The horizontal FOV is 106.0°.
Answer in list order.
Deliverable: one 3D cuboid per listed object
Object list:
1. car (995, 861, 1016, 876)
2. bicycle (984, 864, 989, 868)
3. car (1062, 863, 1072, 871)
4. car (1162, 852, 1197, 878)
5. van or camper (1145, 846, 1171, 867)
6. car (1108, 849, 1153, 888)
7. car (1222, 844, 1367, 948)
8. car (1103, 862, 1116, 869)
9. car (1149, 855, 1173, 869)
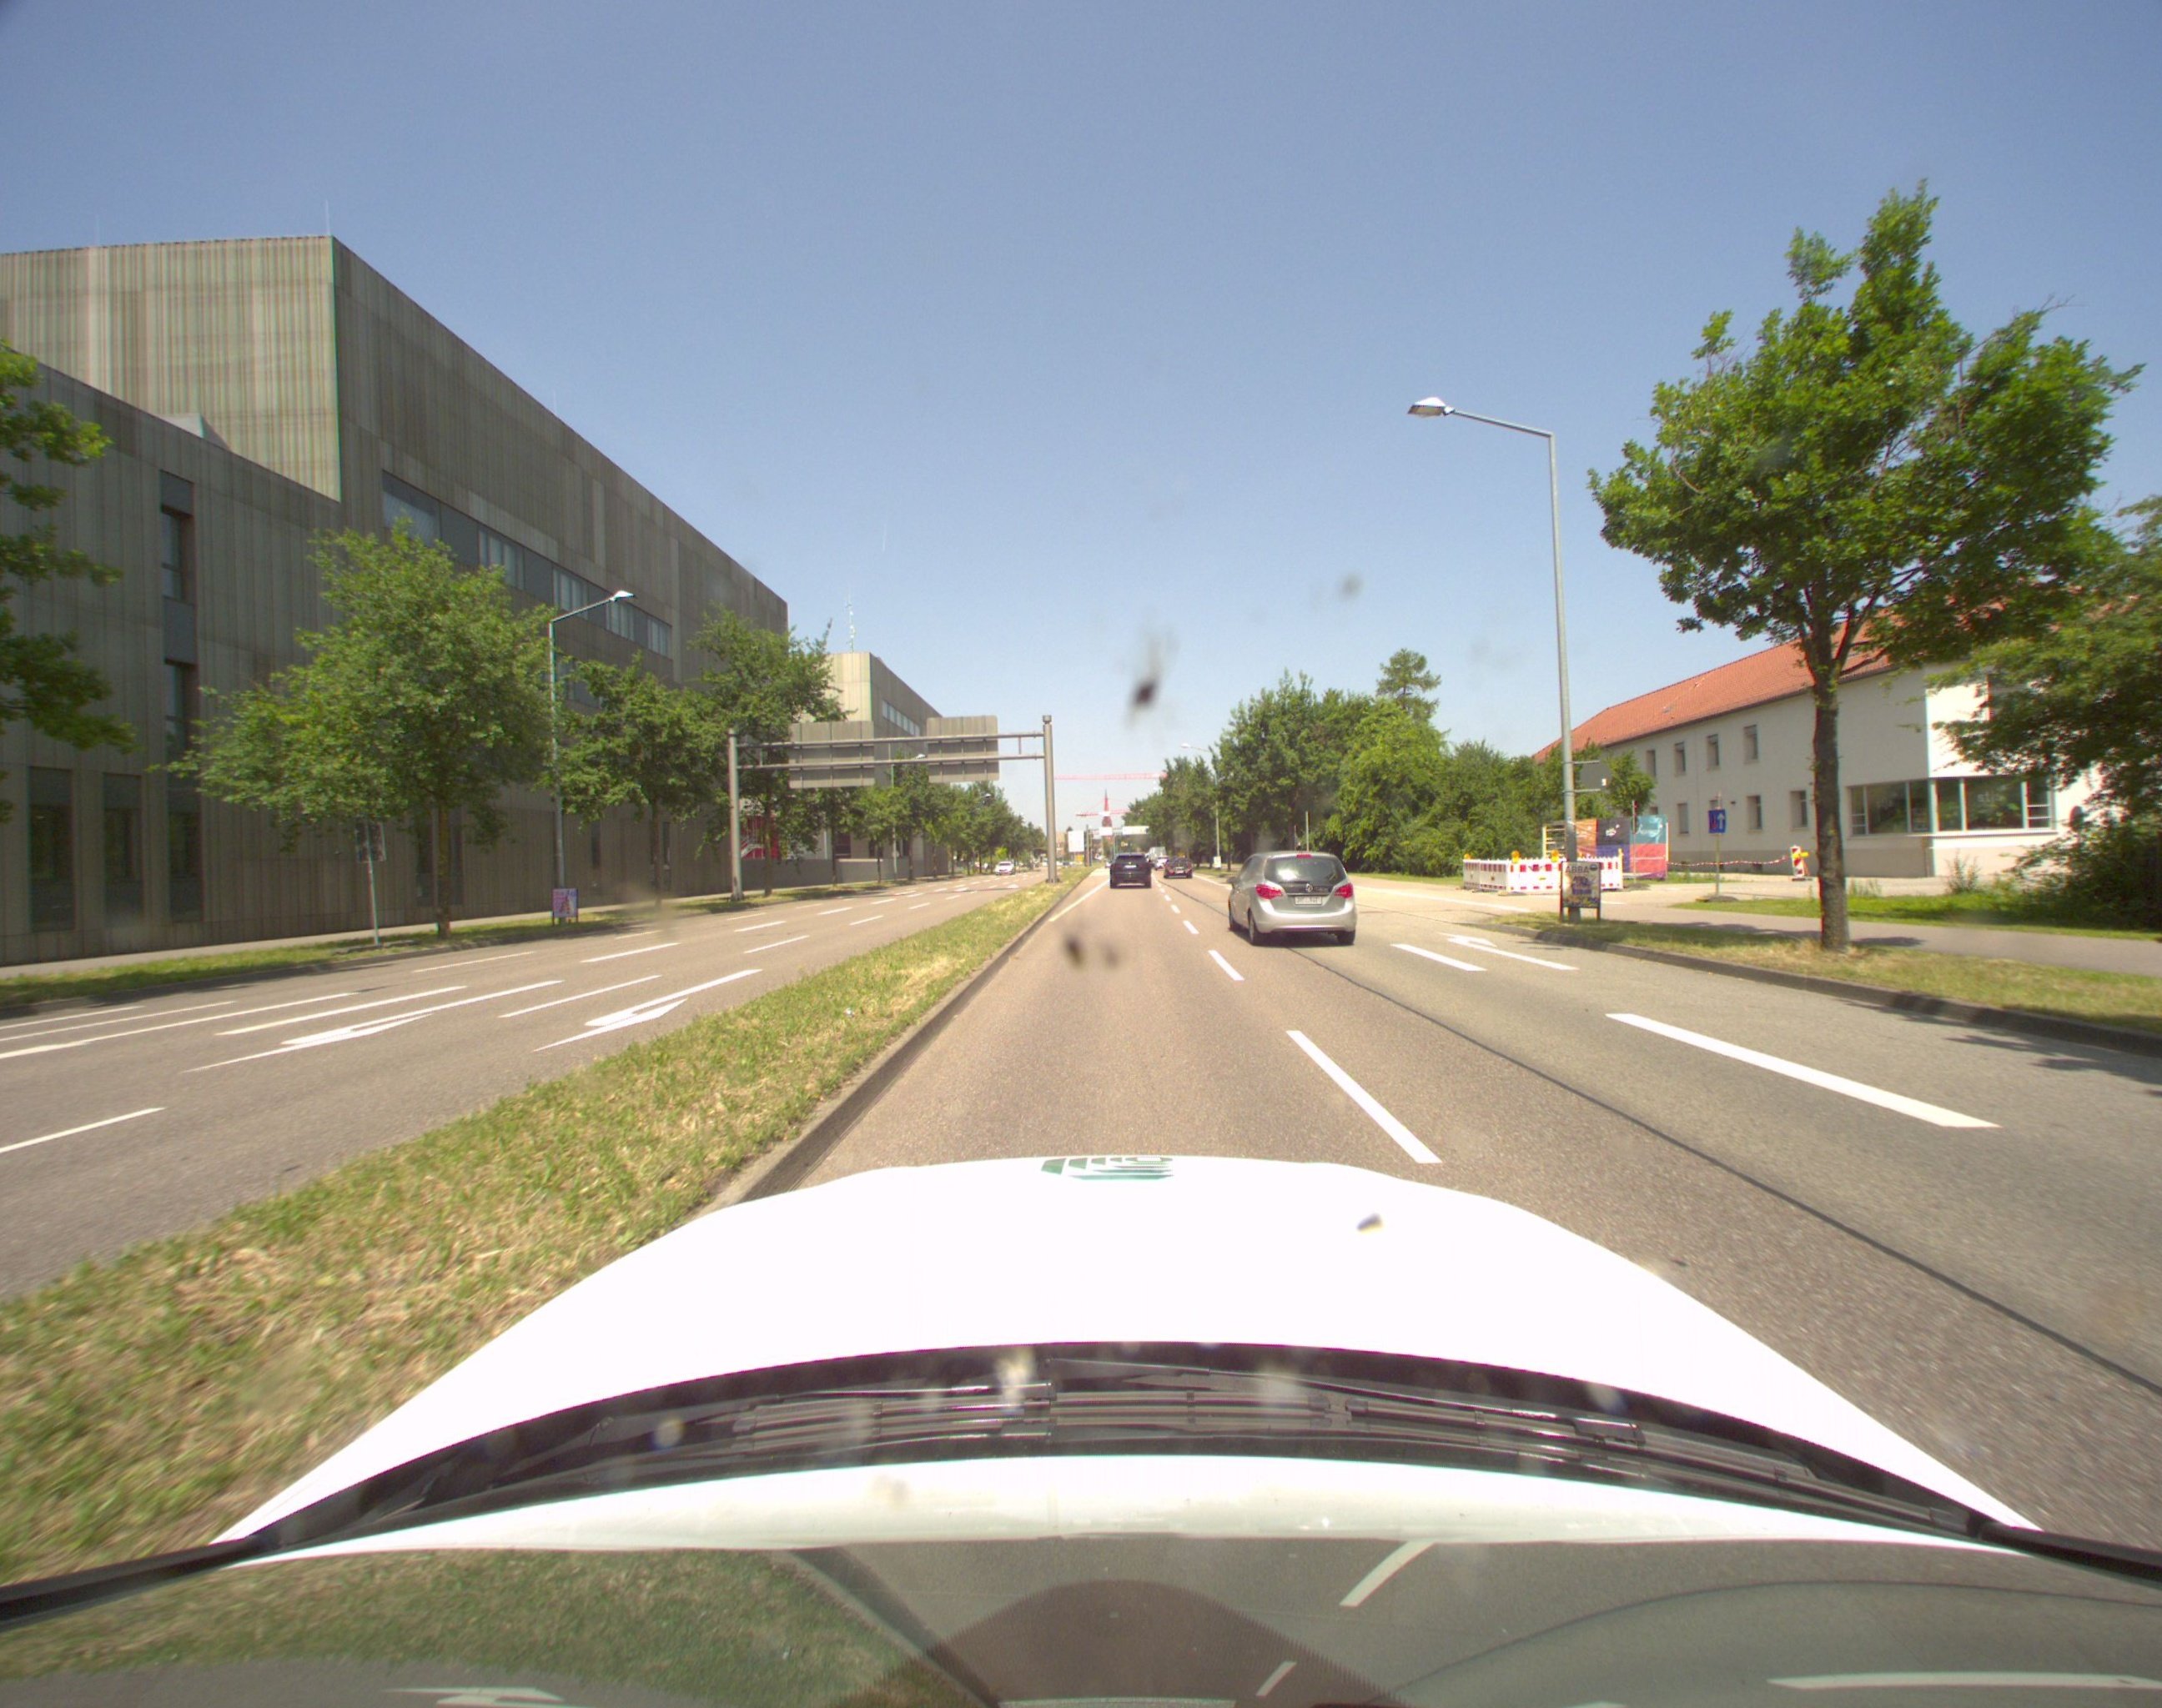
[{"bbox_3d":[-8.236,1.588,88.751,1.804,1.427,4.358,-3,0,0],"label":"car"},{"bbox_3d":[-16.385,2.062,141.064,0.479,0.715,1.853,-2,-1,5],"label":"bicycle"},{"bbox_3d":[-2.809,2.544,163.636,1.702,1.472,3.940,-3,0,0],"label":"car"},{"bbox_3d":[6.390,0.689,53.193,2.005,1.517,4.465,-2,0,4],"label":"car"},{"bbox_3d":[9.031,0.329,95.740,2.485,2.291,4.920,-2,-1,0],"label":"van or camper"},{"bbox_3d":[2.370,0.658,38.764,1.989,1.689,4.037,-1,0,3],"label":"car"},{"bbox_3d":[3.755,0.679,14.980,1.785,1.612,3.894,-2,0,3],"label":"car"},{"bbox_3d":[5.240,2.113,150.426,1.989,1.321,3.996,-2,0,-2],"label":"car"},{"bbox_3d":[8.236,0.843,84.077,1.651,1.356,4.454,-2,-1,-4],"label":"car"}]
